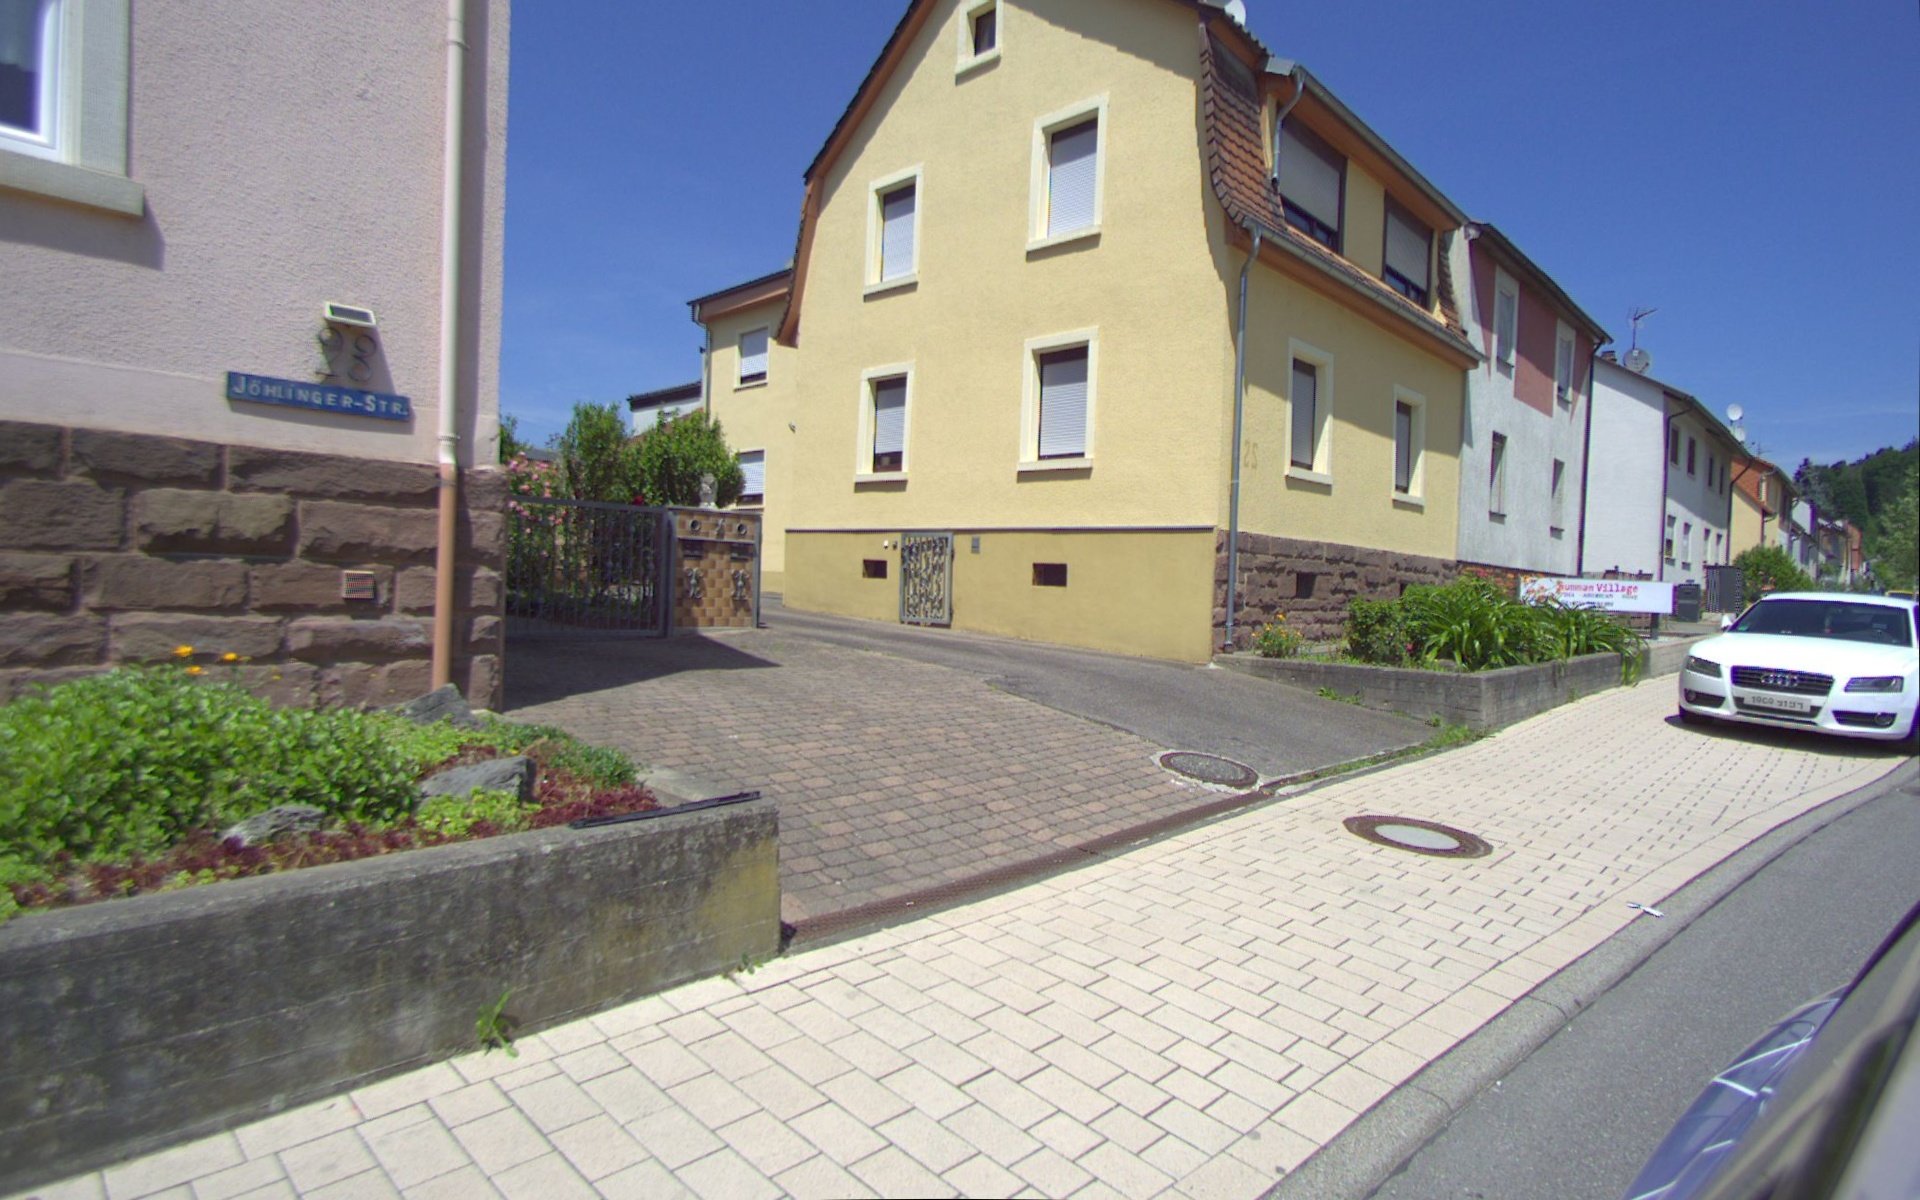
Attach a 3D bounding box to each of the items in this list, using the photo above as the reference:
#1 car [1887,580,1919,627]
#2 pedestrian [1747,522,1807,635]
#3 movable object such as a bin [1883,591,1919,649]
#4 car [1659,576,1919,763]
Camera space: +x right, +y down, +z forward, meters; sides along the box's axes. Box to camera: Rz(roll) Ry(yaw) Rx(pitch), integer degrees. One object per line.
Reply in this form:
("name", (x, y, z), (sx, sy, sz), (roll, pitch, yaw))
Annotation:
("car", (45.858, 0.170, 48.290), (2.190, 2.037, 5.537), (8, 6, 42))
("pedestrian", (15.170, -0.396, 18.788), (1.016, 2.039, 0.746), (-1, 1, -45))
("movable object such as a bin", (25.768, 0.528, 27.035), (1.572, 1.434, 2.994), (3, 3, 43))
("car", (9.050, 0.520, 10.428), (4.550, 1.434, 1.761), (-1, 5, -39))
